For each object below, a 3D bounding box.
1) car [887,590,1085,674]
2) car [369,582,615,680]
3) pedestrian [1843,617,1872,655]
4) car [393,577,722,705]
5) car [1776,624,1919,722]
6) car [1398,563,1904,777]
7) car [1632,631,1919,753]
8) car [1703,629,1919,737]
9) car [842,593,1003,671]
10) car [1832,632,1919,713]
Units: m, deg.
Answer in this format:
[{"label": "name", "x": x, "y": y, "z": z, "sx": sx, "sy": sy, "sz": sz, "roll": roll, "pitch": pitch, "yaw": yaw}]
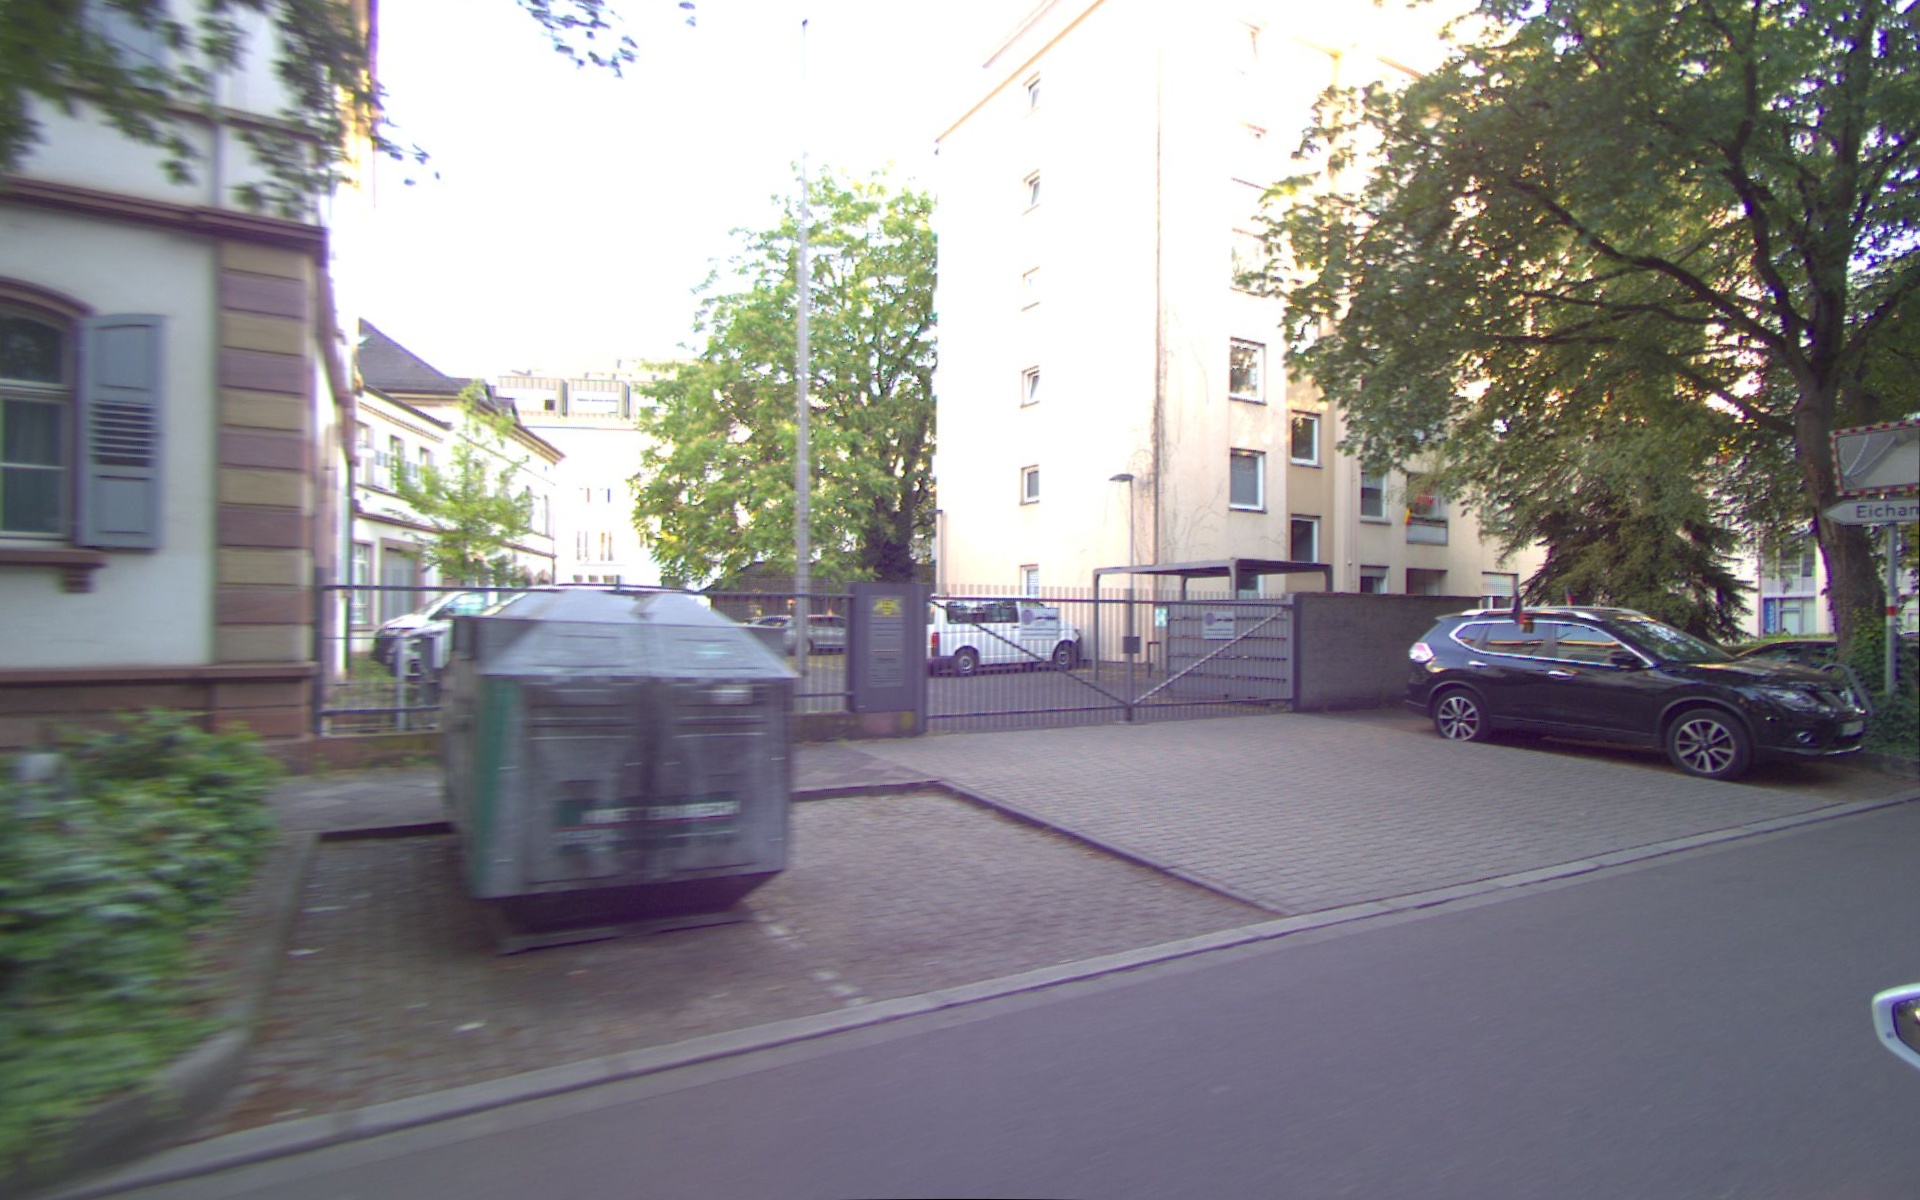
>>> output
[{"label": "car", "x": 0.686, "y": 0.794, "z": 25.453, "sx": 4.645, "sy": 1.948, "sz": 2.043, "roll": 1, "pitch": -1, "yaw": -29}, {"label": "car", "x": -10.220, "y": 0.659, "z": 22.049, "sx": 4.639, "sy": 1.950, "sz": 2.133, "roll": 1, "pitch": -1, "yaw": -34}, {"label": "pedestrian", "x": 43.952, "y": 1.750, "z": 49.189, "sx": 0.874, "sy": 1.875, "sz": 0.874, "roll": 0, "pitch": -1, "yaw": 29}, {"label": "car", "x": -6.395, "y": 0.620, "z": 16.155, "sx": 4.630, "sy": 1.781, "sz": 1.985, "roll": 1, "pitch": -1, "yaw": -34}, {"label": "car", "x": 16.486, "y": 1.212, "z": 16.824, "sx": 1.903, "sy": 1.586, "sz": 3.976, "roll": 1, "pitch": -1, "yaw": -25}, {"label": "car", "x": 7.718, "y": 0.682, "z": 11.726, "sx": 1.977, "sy": 1.981, "sz": 4.481, "roll": 1, "pitch": -1, "yaw": -31}, {"label": "car", "x": 12.185, "y": 1.208, "z": 14.299, "sx": 1.901, "sy": 1.483, "sz": 3.966, "roll": 1, "pitch": -1, "yaw": -31}, {"label": "car", "x": 14.180, "y": 1.229, "z": 15.552, "sx": 1.805, "sy": 1.510, "sz": 3.965, "roll": 1, "pitch": -1, "yaw": -32}, {"label": "car", "x": -1.026, "y": 0.858, "z": 27.523, "sx": 3.952, "sy": 1.973, "sz": 1.984, "roll": 1, "pitch": -1, "yaw": -30}, {"label": "car", "x": 18.756, "y": 1.340, "z": 18.083, "sx": 1.857, "sy": 1.448, "sz": 4.267, "roll": 1, "pitch": -1, "yaw": -30}]
